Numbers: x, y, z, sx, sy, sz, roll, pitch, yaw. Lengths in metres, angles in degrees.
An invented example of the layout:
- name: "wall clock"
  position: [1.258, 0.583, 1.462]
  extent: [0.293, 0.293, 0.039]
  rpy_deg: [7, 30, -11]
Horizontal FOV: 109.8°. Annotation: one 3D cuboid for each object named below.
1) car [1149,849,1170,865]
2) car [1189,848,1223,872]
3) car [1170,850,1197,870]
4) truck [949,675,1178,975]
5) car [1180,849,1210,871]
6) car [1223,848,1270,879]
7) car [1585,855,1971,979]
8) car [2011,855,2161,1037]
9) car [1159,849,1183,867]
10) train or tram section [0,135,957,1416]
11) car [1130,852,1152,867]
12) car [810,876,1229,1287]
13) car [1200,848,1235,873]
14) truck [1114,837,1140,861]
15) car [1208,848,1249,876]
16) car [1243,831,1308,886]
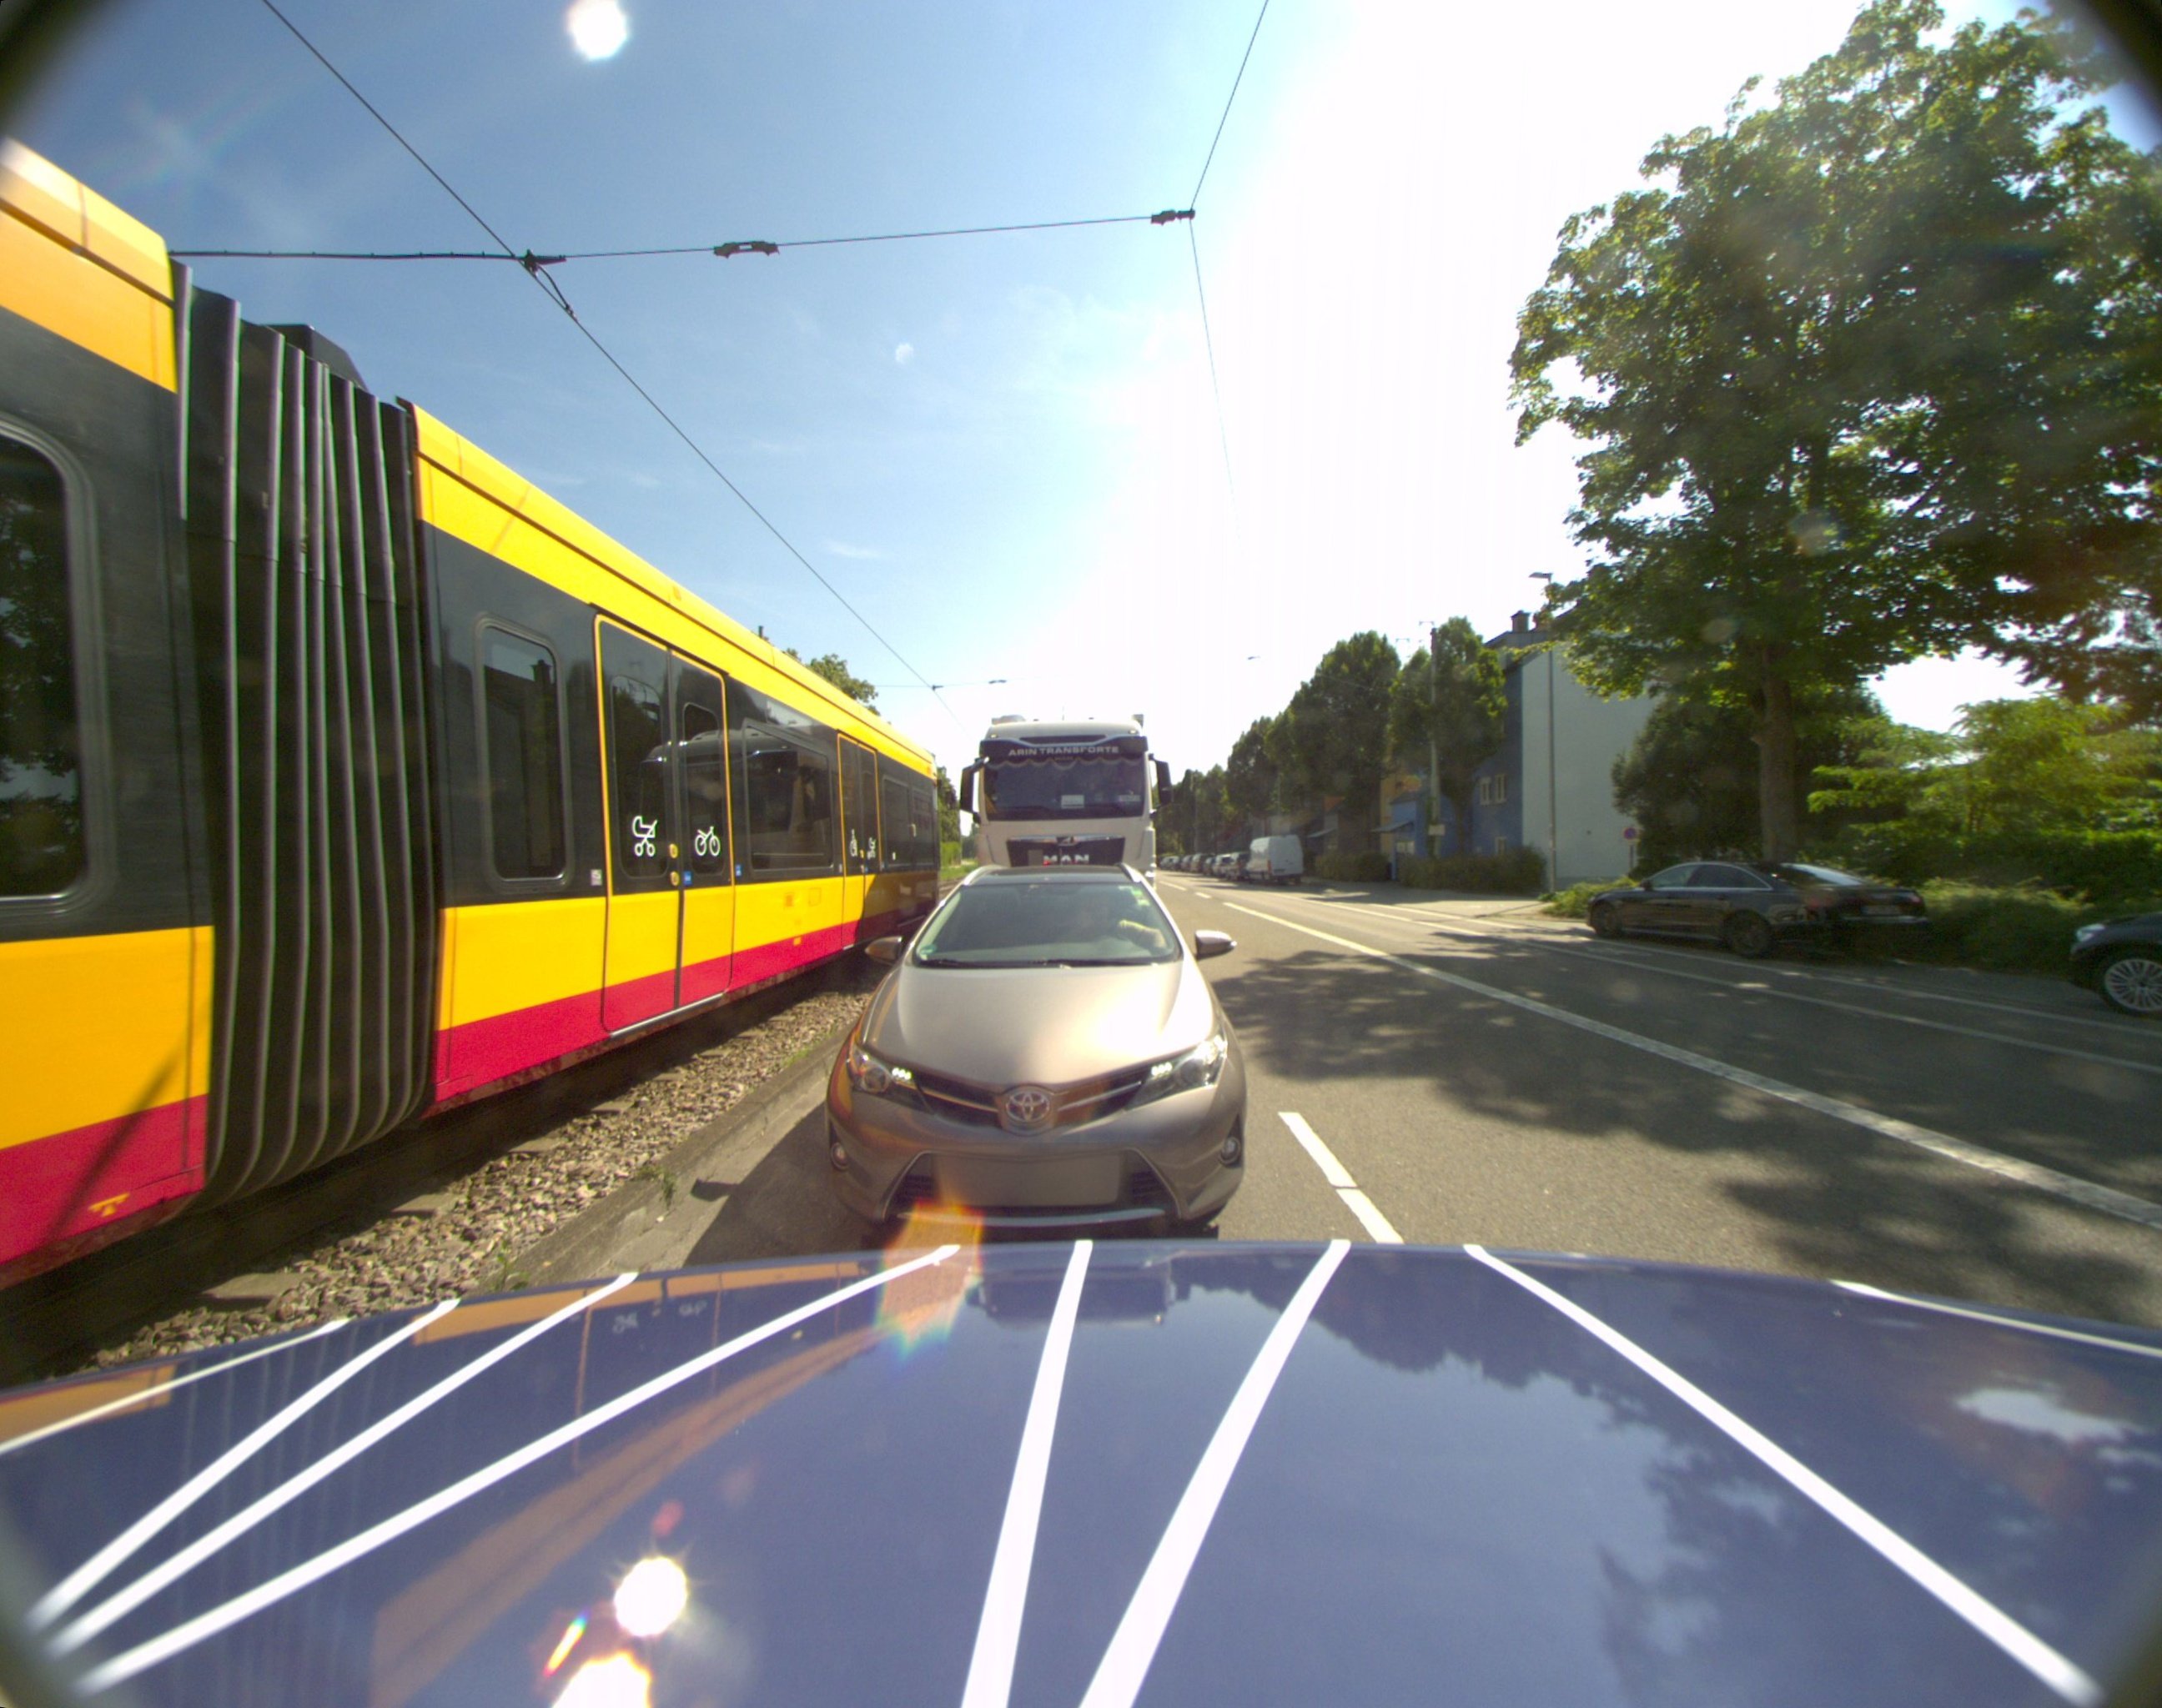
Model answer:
- name: "car"
  position: [9.912, 0.406, 96.802]
  extent: [1.998, 1.795, 4.769]
  rpy_deg: [-6, 0, 0]
- name: "car"
  position: [11.076, 0.527, 67.670]
  extent: [1.998, 1.795, 4.769]
  rpy_deg: [-6, 0, 0]
- name: "car"
  position: [10.592, 0.624, 79.164]
  extent: [1.998, 1.795, 4.769]
  rpy_deg: [-6, 0, 0]
- name: "truck"
  position: [-0.124, -0.392, 17.247]
  extent: [2.935, 3.856, 14.912]
  rpy_deg: [0, 0, 1]
- name: "car"
  position: [10.950, 0.559, 73.374]
  extent: [1.998, 1.795, 4.769]
  rpy_deg: [-6, 0, 0]
- name: "car"
  position: [11.148, 0.629, 51.443]
  extent: [1.998, 1.795, 4.769]
  rpy_deg: [-6, 0, 0]
- name: "car"
  position: [10.573, 0.824, 12.157]
  extent: [1.868, 1.562, 4.621]
  rpy_deg: [-1, 0, -2]
- name: "car"
  position: [10.576, 0.825, 5.566]
  extent: [1.868, 1.562, 4.621]
  rpy_deg: [-2, 0, 0]
- name: "car"
  position: [10.180, 0.475, 85.907]
  extent: [1.998, 1.795, 4.769]
  rpy_deg: [-6, 0, 0]
- name: "train or tram section"
  position: [-3.918, -0.229, 8.484]
  extent: [2.878, 3.833, 12.391]
  rpy_deg: [0, 0, 1]
- name: "car"
  position: [8.309, 0.783, 105.567]
  extent: [1.999, 1.795, 5.111]
  rpy_deg: [-6, 0, -4]
- name: "car"
  position: [-0.205, 0.912, 4.858]
  extent: [1.573, 1.422, 4.000]
  rpy_deg: [0, 0, 1]
- name: "car"
  position: [11.235, 0.525, 62.859]
  extent: [1.998, 1.795, 4.256]
  rpy_deg: [-6, 0, 0]
- name: "truck"
  position: [7.020, -0.690, 116.105]
  extent: [2.704, 3.263, 6.724]
  rpy_deg: [-6, 0, -5]
- name: "car"
  position: [11.092, 0.571, 57.313]
  extent: [1.998, 1.795, 4.769]
  rpy_deg: [-6, 0, 0]
- name: "car"
  position: [10.916, 0.246, 43.147]
  extent: [1.998, 2.678, 6.214]
  rpy_deg: [-6, 0, 2]
